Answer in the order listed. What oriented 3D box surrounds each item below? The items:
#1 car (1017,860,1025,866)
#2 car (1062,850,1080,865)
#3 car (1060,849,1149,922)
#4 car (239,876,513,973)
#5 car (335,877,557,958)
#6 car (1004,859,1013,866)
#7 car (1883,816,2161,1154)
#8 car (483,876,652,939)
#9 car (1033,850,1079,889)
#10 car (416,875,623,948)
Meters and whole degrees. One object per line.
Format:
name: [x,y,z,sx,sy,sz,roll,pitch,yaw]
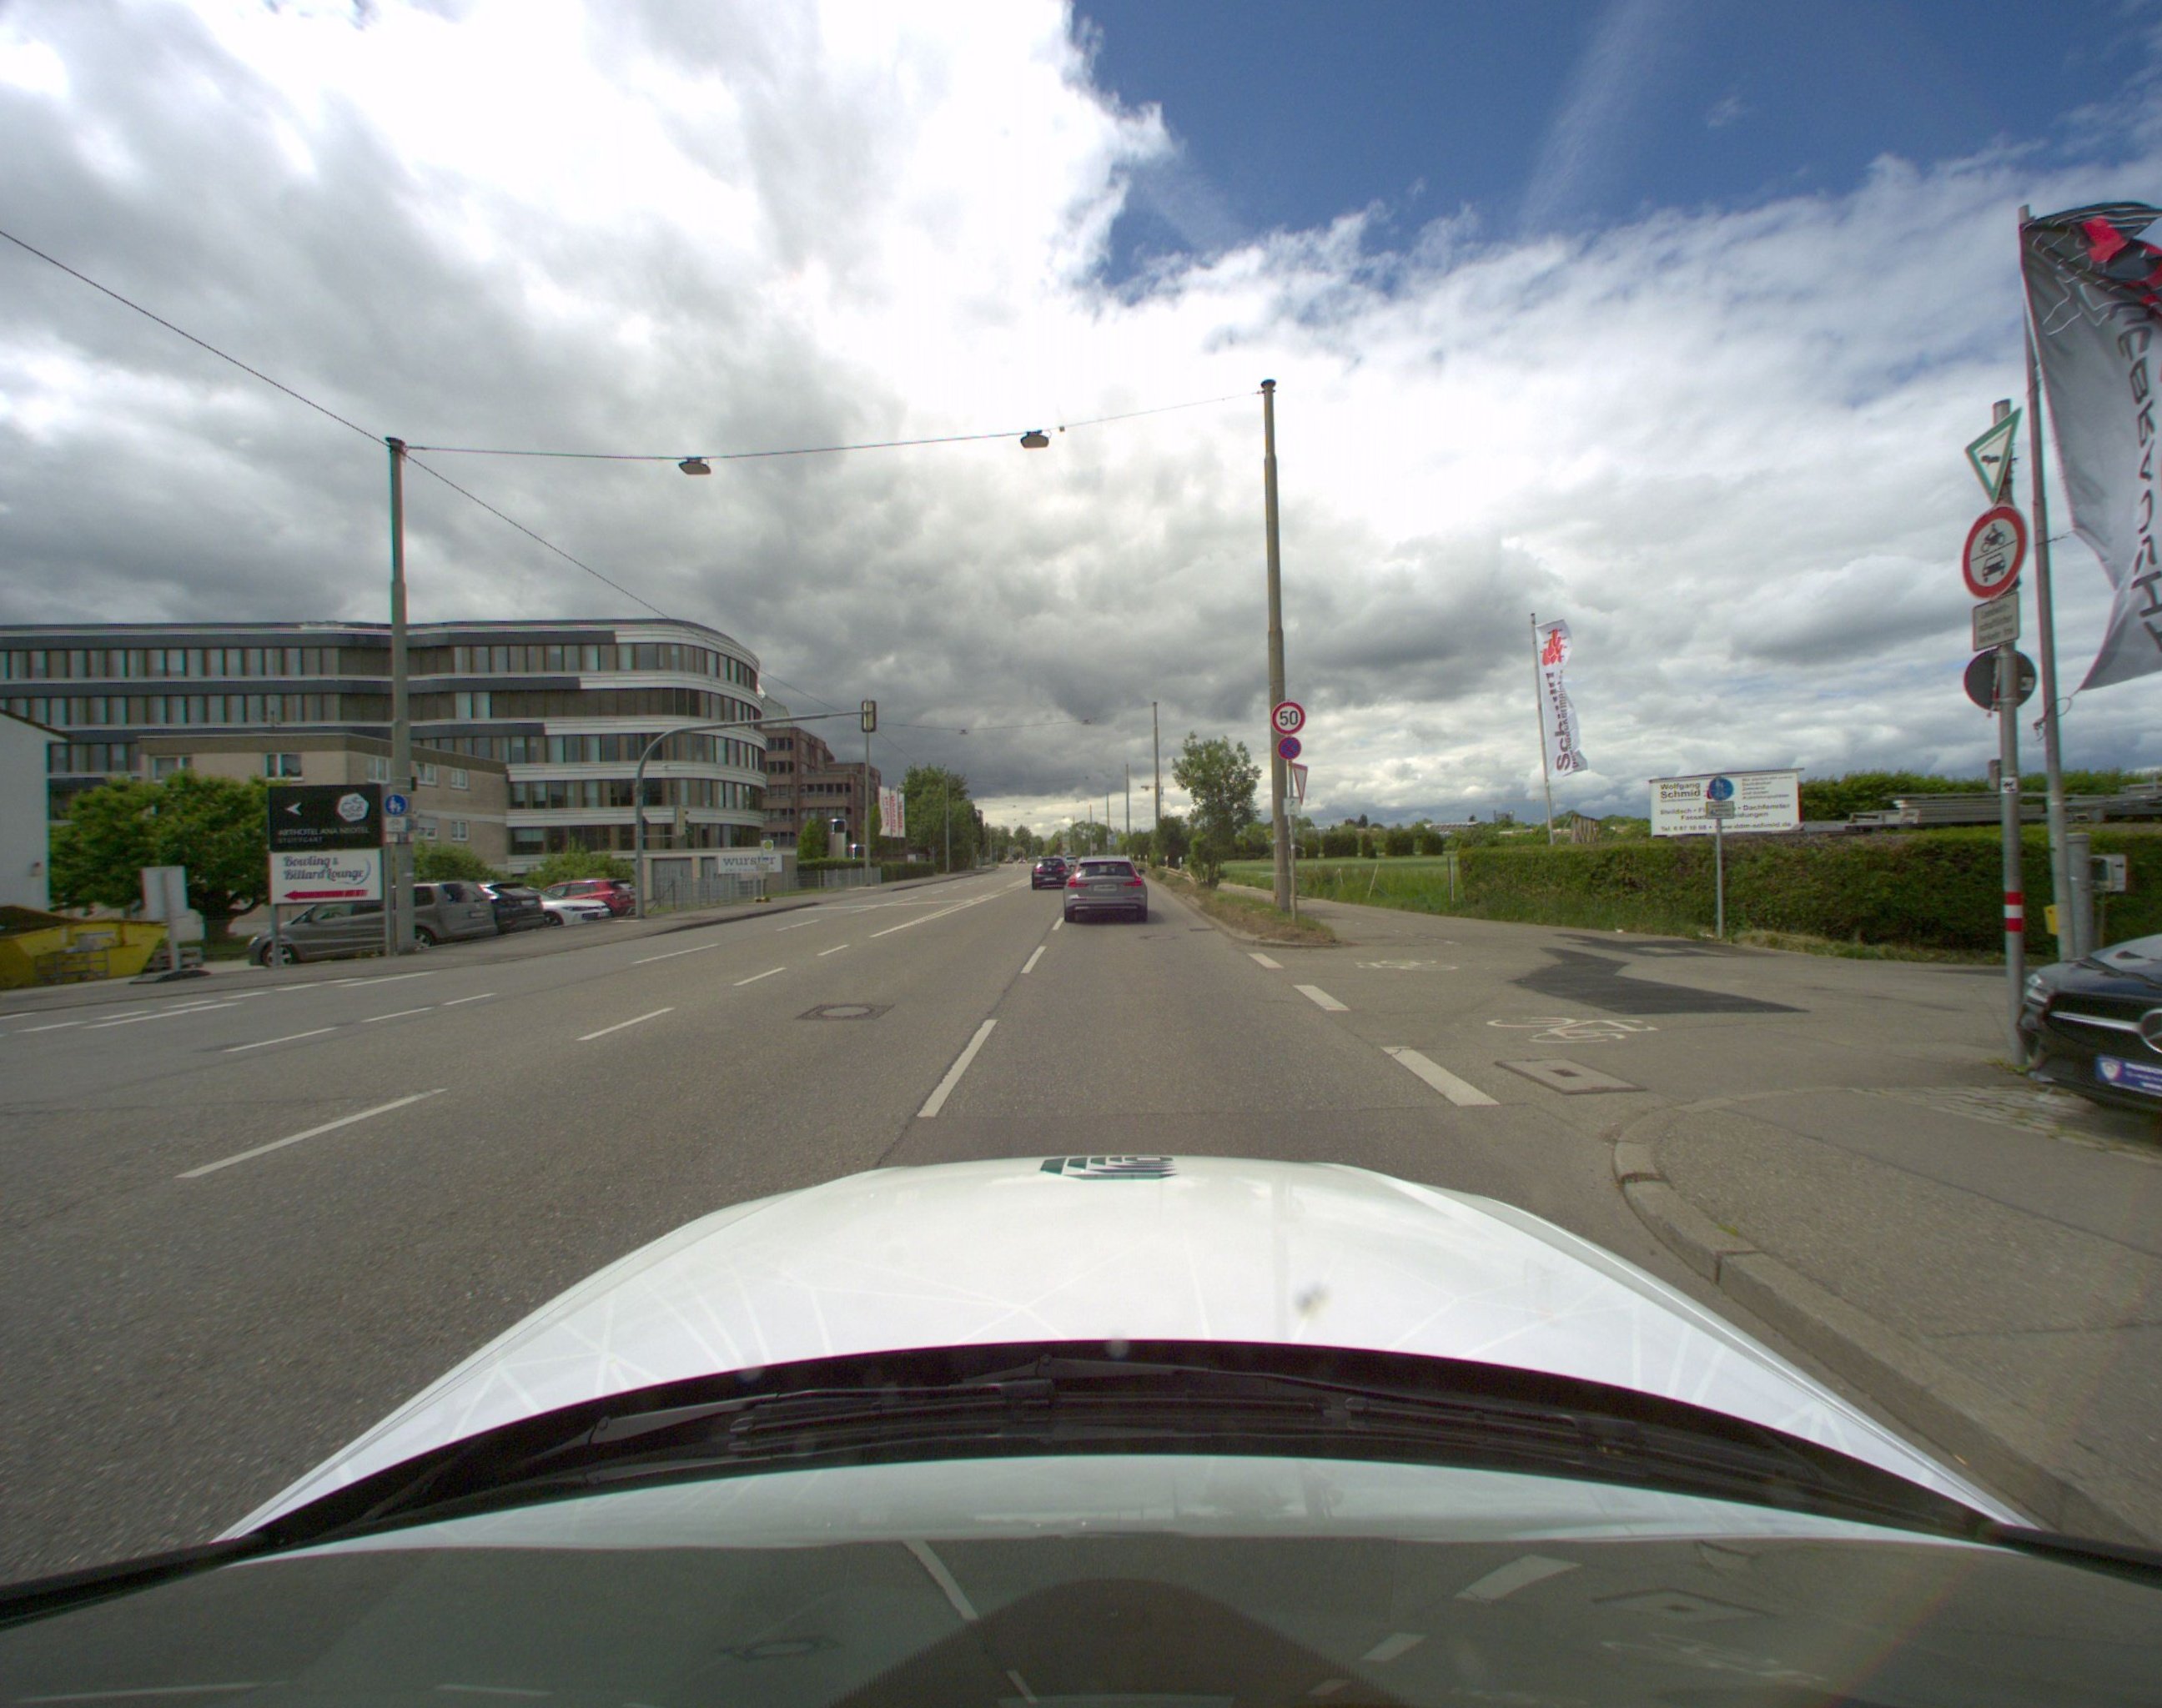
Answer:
car: [-15.822,2.327,215.615,1.876,1.520,3.998,0,-1,-1]
car: [-1.185,0.442,94.610,1.987,1.695,4.000,0,-1,1]
car: [0.584,0.695,19.225,1.888,1.554,4.002,0,-1,2]
car: [-15.432,1.494,18.056,4.089,1.397,1.904,-8,1,-6]
car: [-15.896,1.552,20.557,3.976,1.424,1.854,-8,-1,-1]
car: [-19.355,2.265,217.641,1.876,1.717,3.998,0,-1,-1]
car: [6.631,0.551,3.565,4.308,1.398,2.003,0,-2,-1]
car: [-16.037,1.636,25.596,3.976,1.369,1.847,-8,-1,-1]
car: [-1.124,0.705,37.261,1.988,1.717,3.998,0,-1,-1]
car: [-15.667,1.569,22.939,4.217,1.387,1.981,-8,-1,-5]
